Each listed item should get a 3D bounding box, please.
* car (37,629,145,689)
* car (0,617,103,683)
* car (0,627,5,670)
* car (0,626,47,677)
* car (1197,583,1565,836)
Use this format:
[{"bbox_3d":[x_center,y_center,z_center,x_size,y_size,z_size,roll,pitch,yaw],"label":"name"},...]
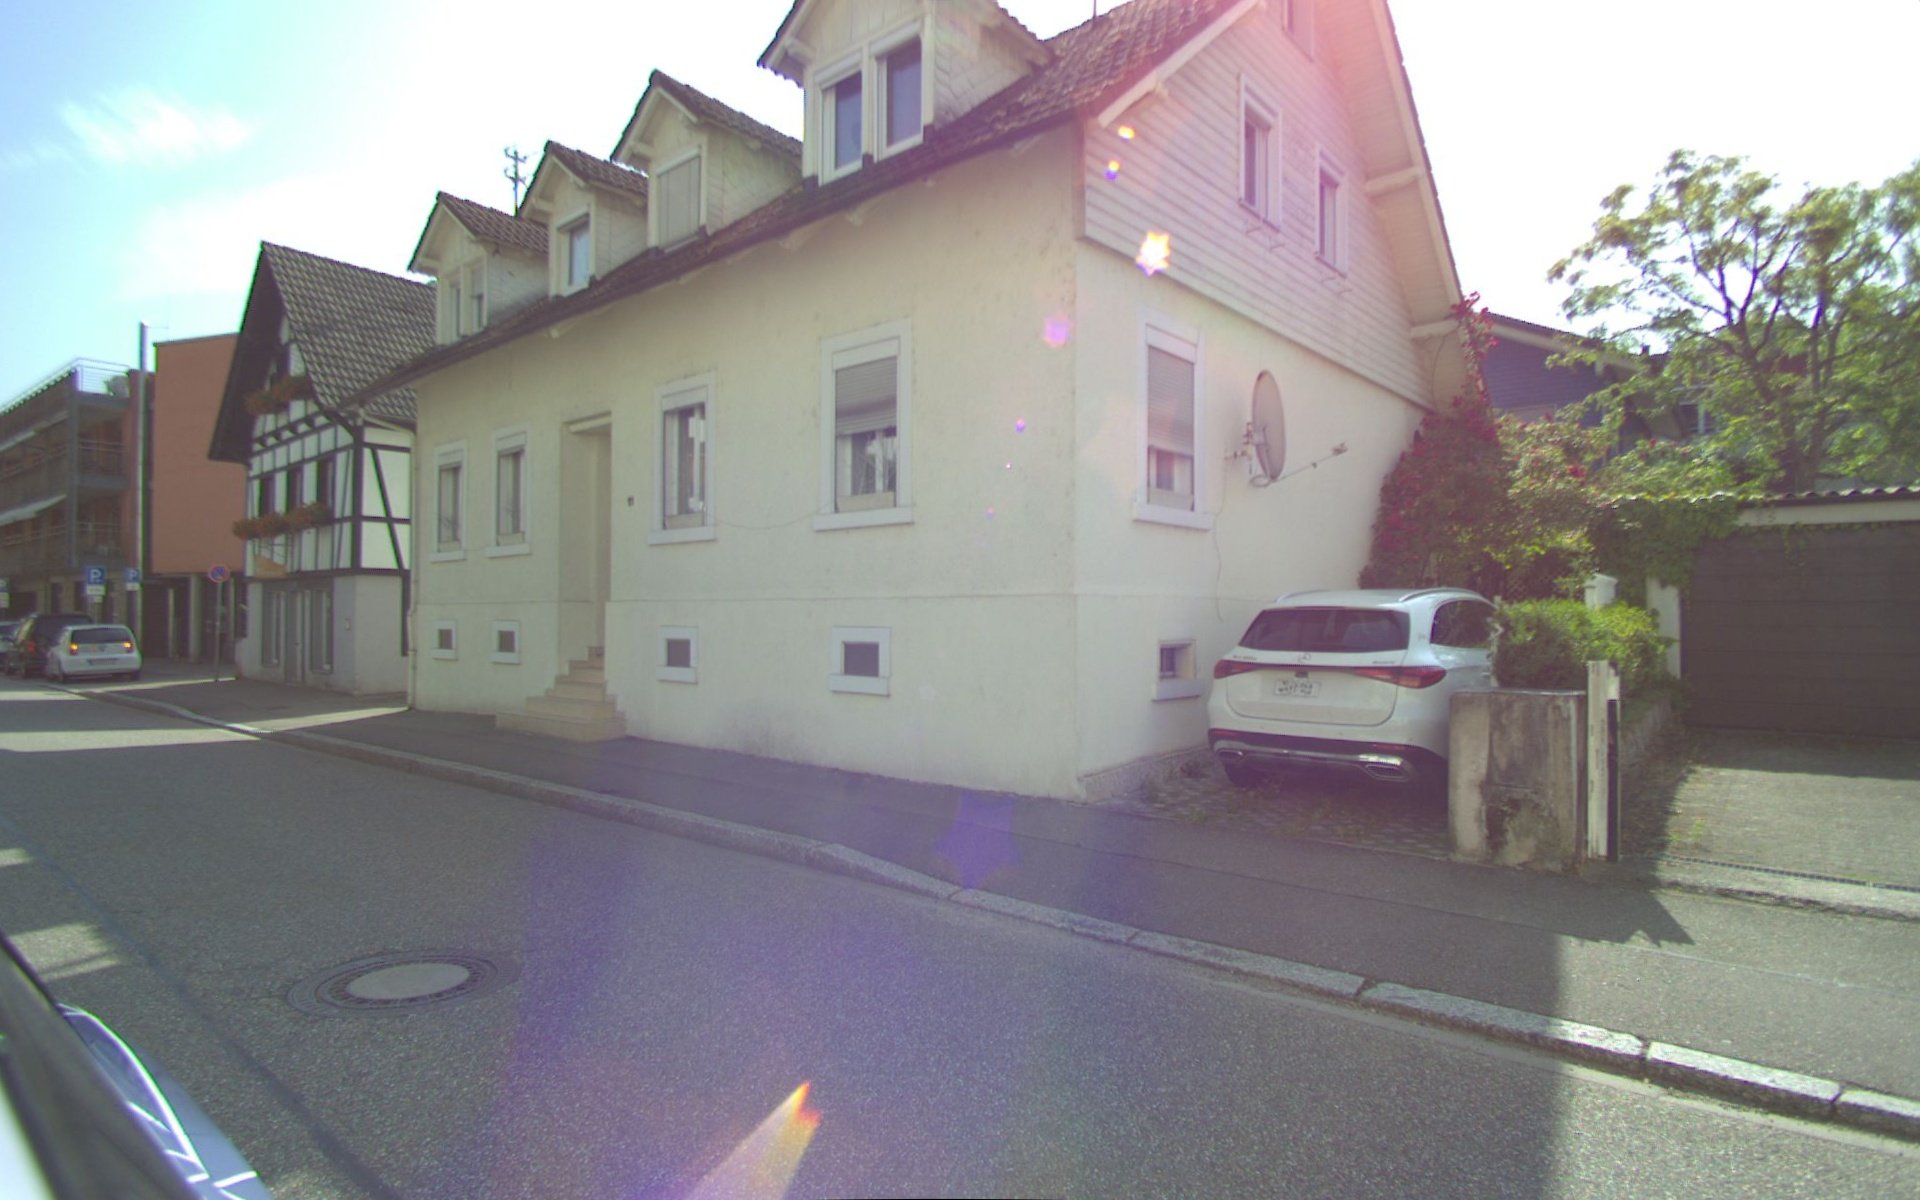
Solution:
[{"bbox_3d":[-22.938,1.524,26.676,3.566,1.443,1.649,-2,-1,41],"label":"car"},{"bbox_3d":[-26.896,1.419,29.792,4.263,1.810,1.703,-1,-2,38],"label":"car"},{"bbox_3d":[-36.841,1.800,37.454,3.760,1.567,1.658,-2,-1,39],"label":"car"},{"bbox_3d":[-31.626,1.674,33.348,3.944,1.601,1.658,-2,-2,39],"label":"car"},{"bbox_3d":[3.743,0.712,8.583,1.905,1.606,3.949,-1,-1,38],"label":"car"}]
